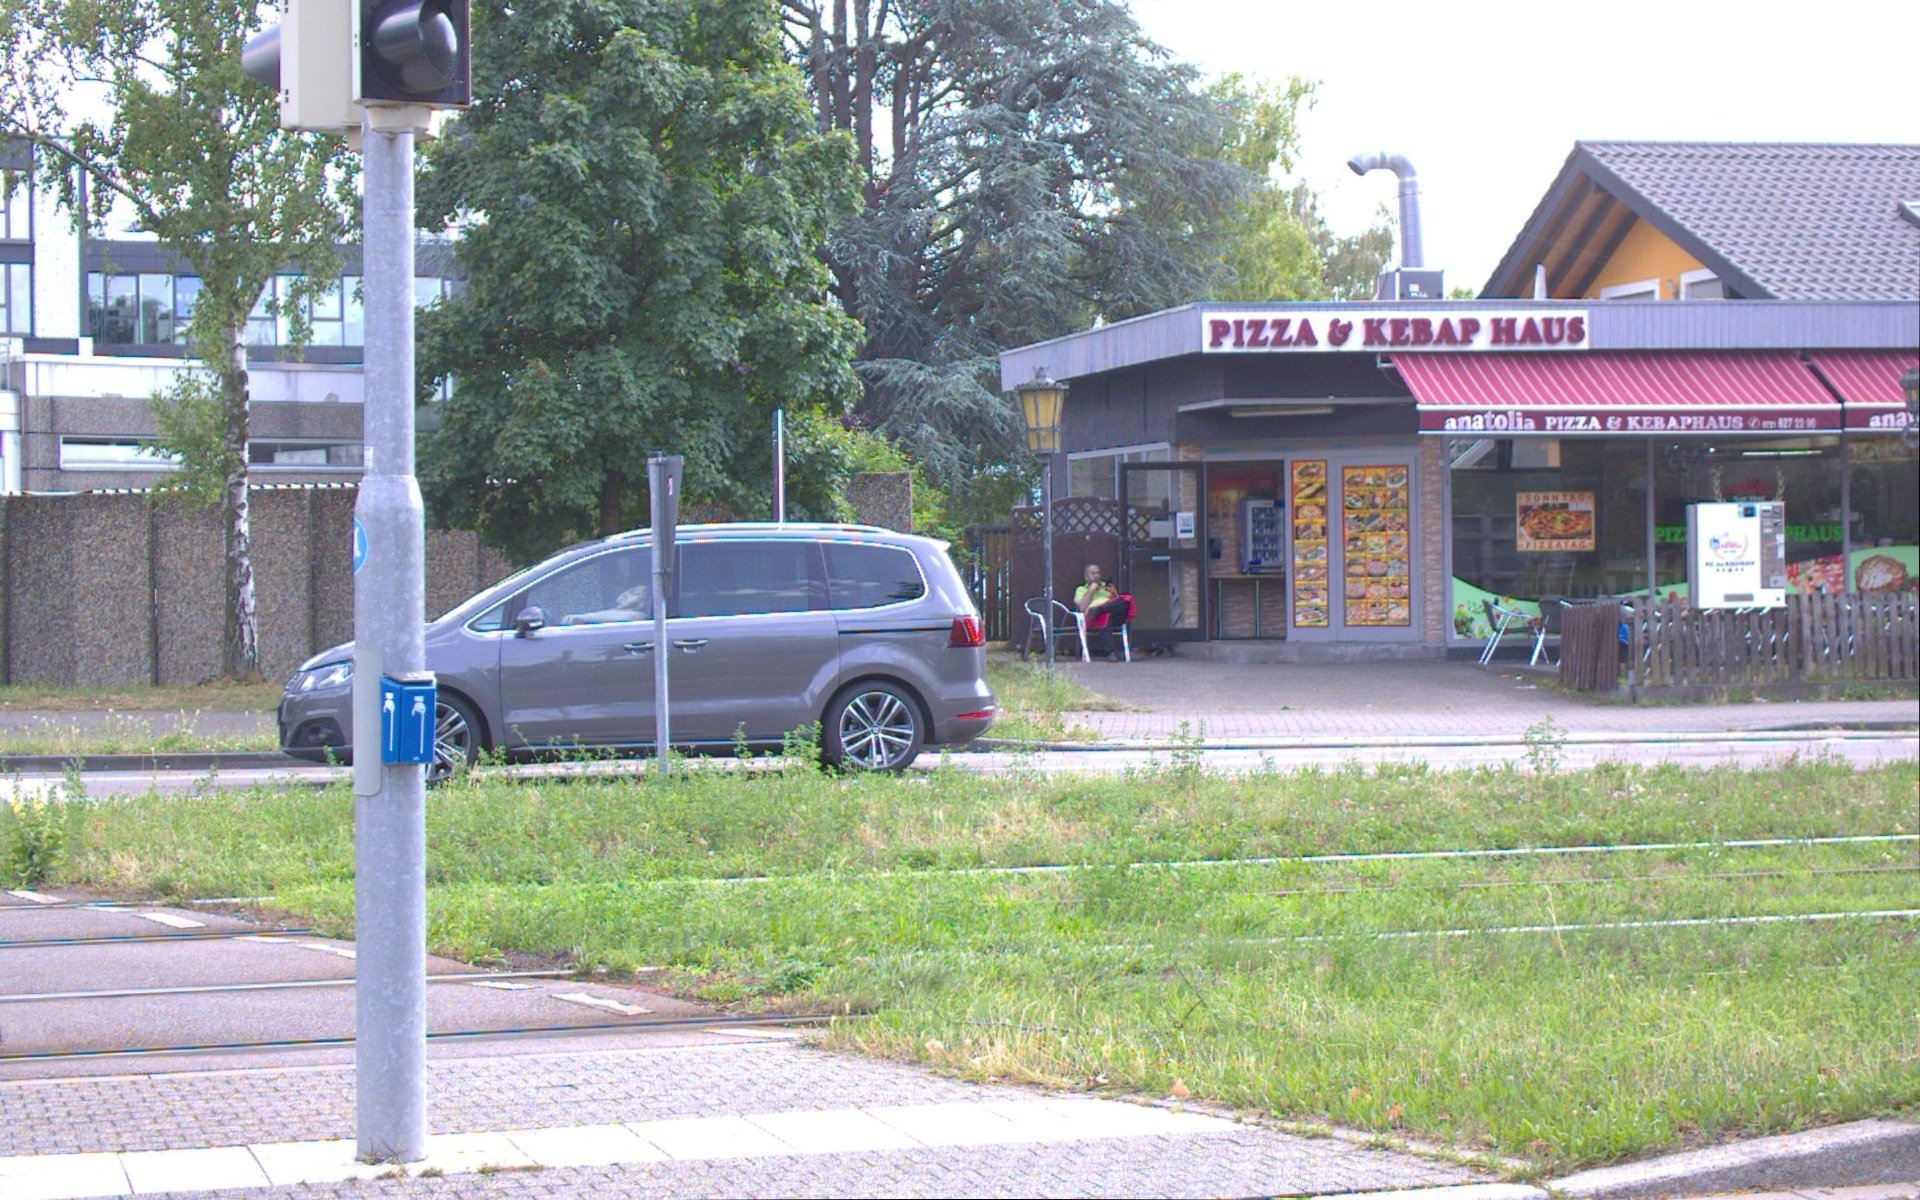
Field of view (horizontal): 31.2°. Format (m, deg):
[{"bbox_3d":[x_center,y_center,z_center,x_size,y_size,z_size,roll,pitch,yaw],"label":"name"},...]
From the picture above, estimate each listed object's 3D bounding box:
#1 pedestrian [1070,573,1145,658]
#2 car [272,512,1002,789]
[{"bbox_3d":[1.678,0.171,39.191,0.725,0.926,0.777,0,2,-7],"label":"pedestrian"},{"bbox_3d":[-2.244,0.297,23.307,4.723,1.716,2.001,-1,1,-11],"label":"car"}]
